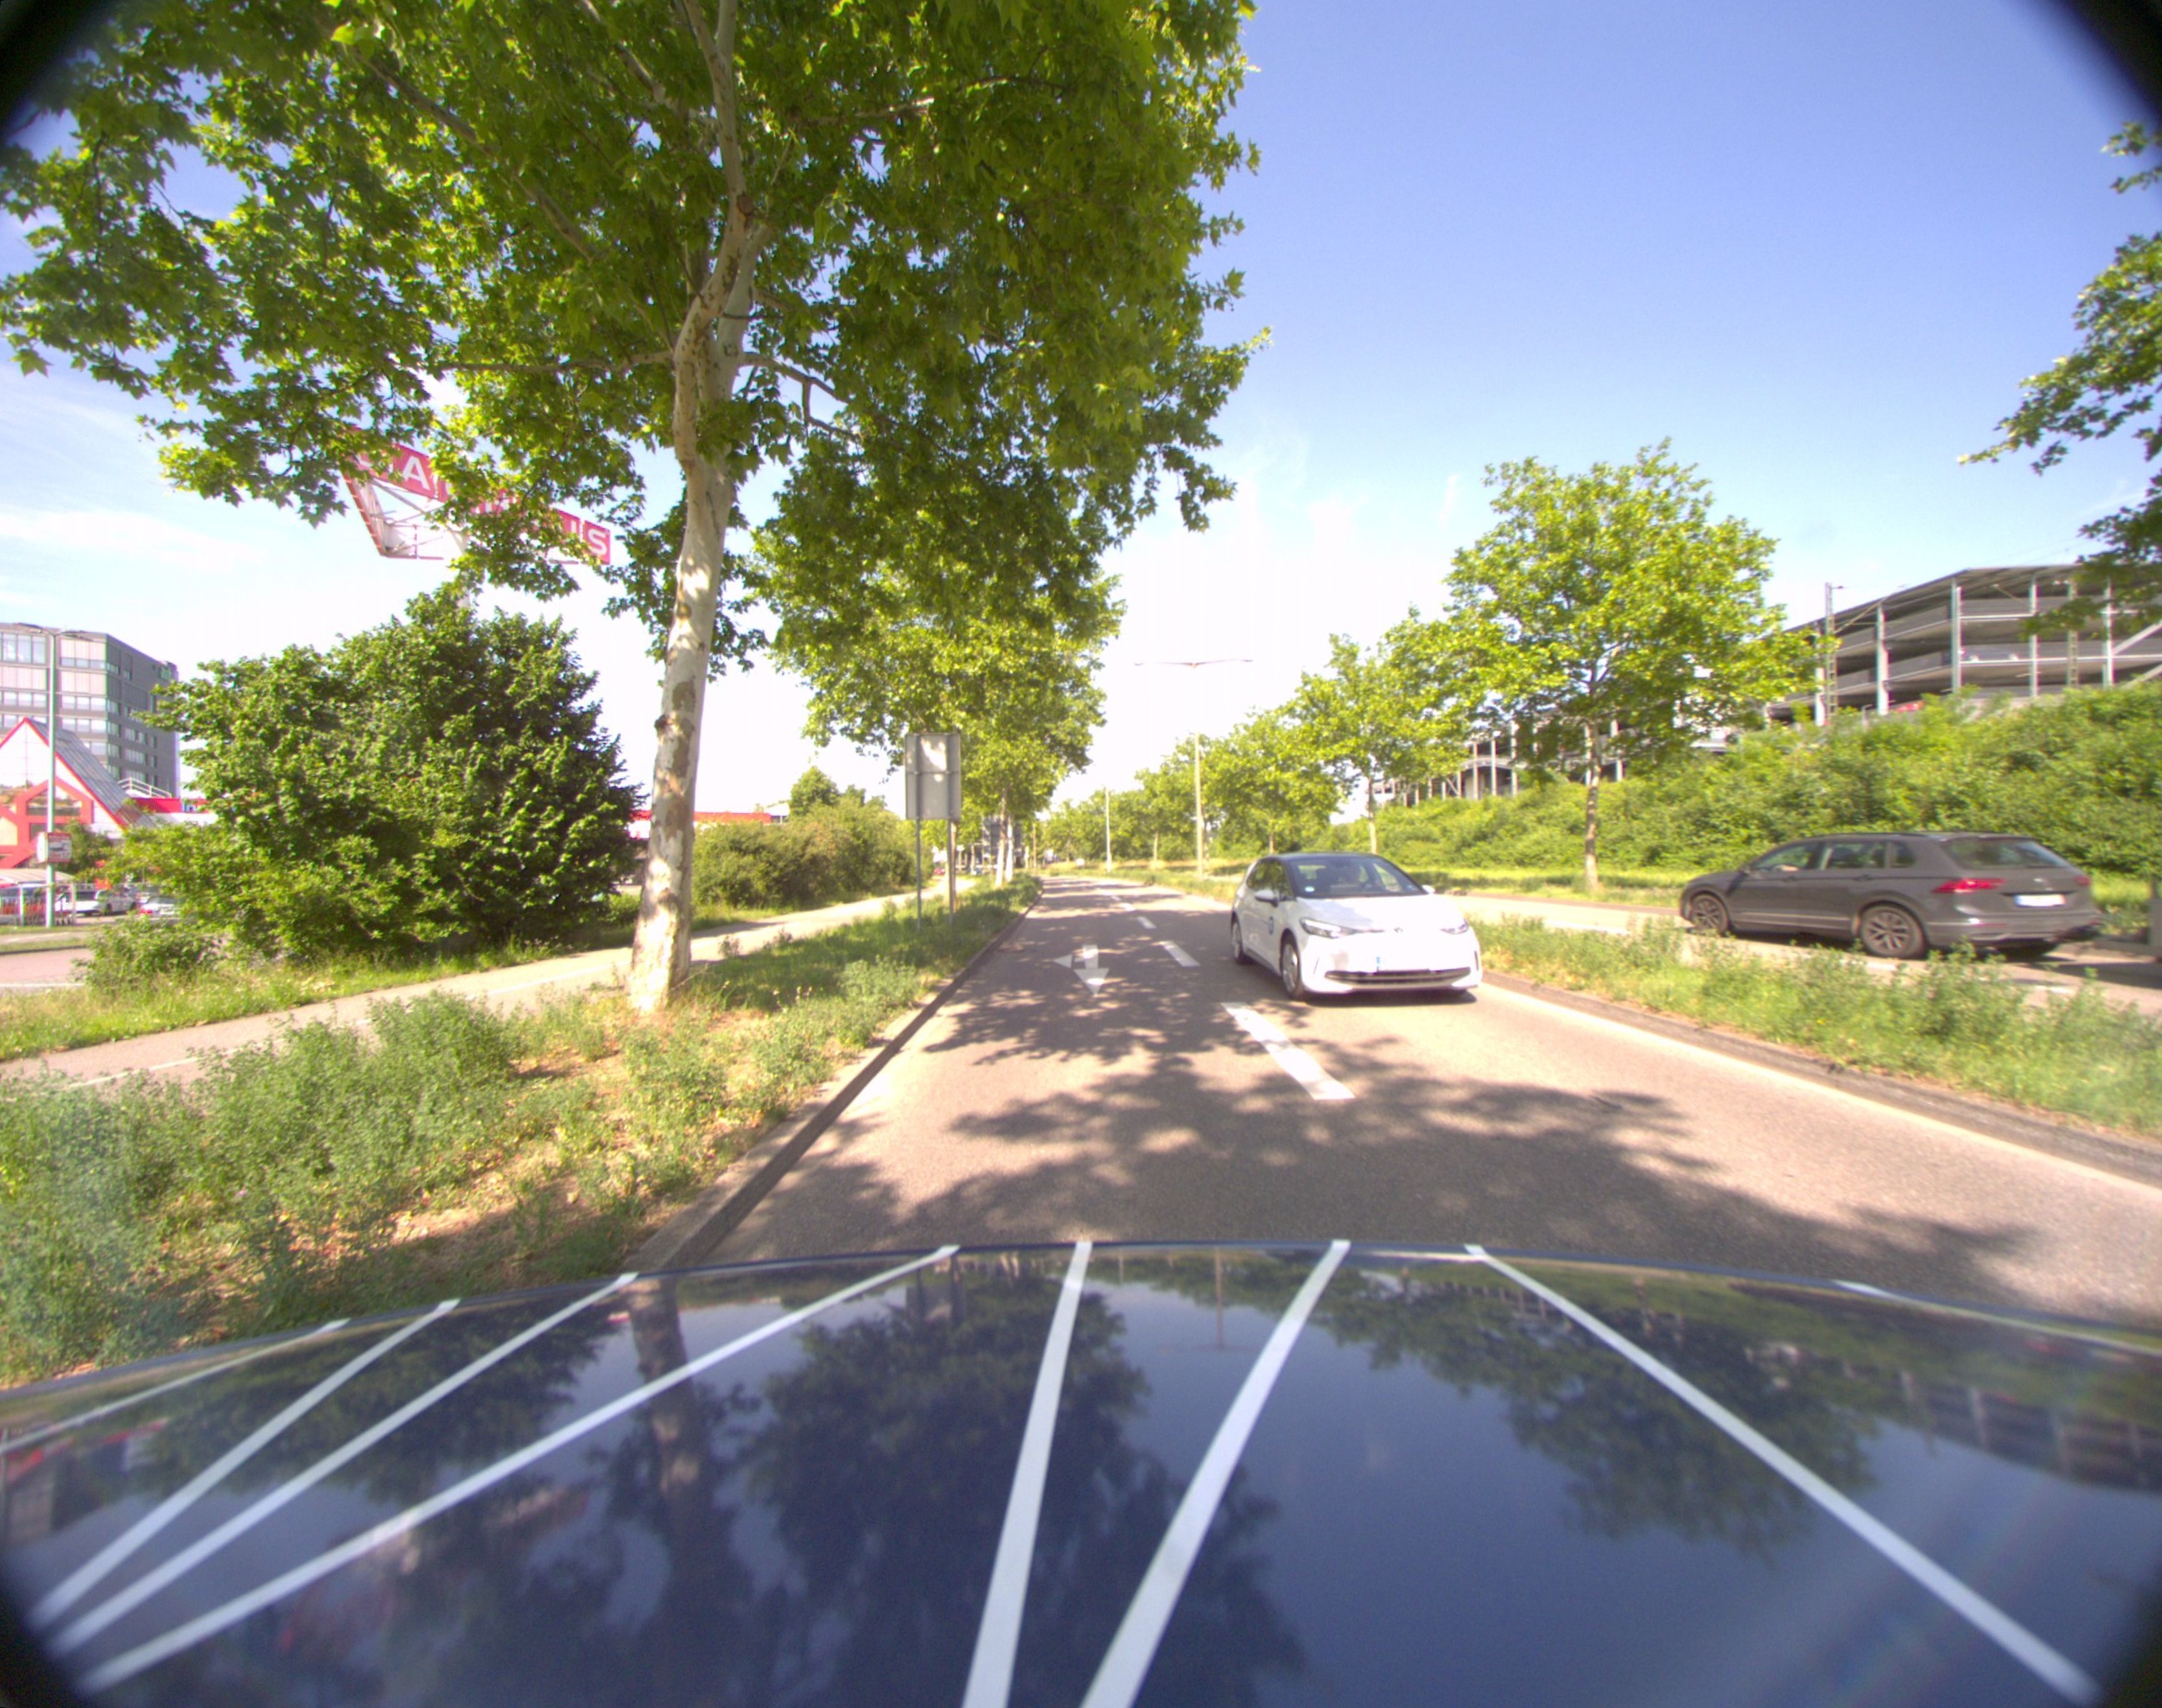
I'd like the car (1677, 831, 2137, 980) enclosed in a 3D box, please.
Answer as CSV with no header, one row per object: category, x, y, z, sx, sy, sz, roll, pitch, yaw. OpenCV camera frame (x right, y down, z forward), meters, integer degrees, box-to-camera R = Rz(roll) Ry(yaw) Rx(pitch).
car,10.871,0.560,10.608,1.719,1.612,4.361,-1,0,1

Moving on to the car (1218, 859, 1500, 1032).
car,2.948,0.861,9.109,1.824,1.512,4.208,-2,0,0

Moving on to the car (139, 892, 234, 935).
car,-36.041,2.346,30.718,1.784,1.477,3.779,-2,0,-39

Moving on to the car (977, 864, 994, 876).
car,-13.668,2.261,108.763,1.724,1.575,3.749,-2,0,-17

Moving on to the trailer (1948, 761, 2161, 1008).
trailer,10.994,0.259,5.869,2.315,2.252,5.538,-1,0,1

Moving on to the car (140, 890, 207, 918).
car,-50.391,2.756,42.248,1.572,1.371,3.610,-2,0,-37

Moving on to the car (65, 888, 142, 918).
car,-52.022,2.577,40.513,1.572,1.371,3.610,-2,0,-37

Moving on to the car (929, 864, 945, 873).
car,-26.001,2.645,137.194,1.652,1.592,3.595,-2,0,-30

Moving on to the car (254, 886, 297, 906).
car,-60.337,3.137,56.972,1.572,1.371,3.610,-2,0,-37
